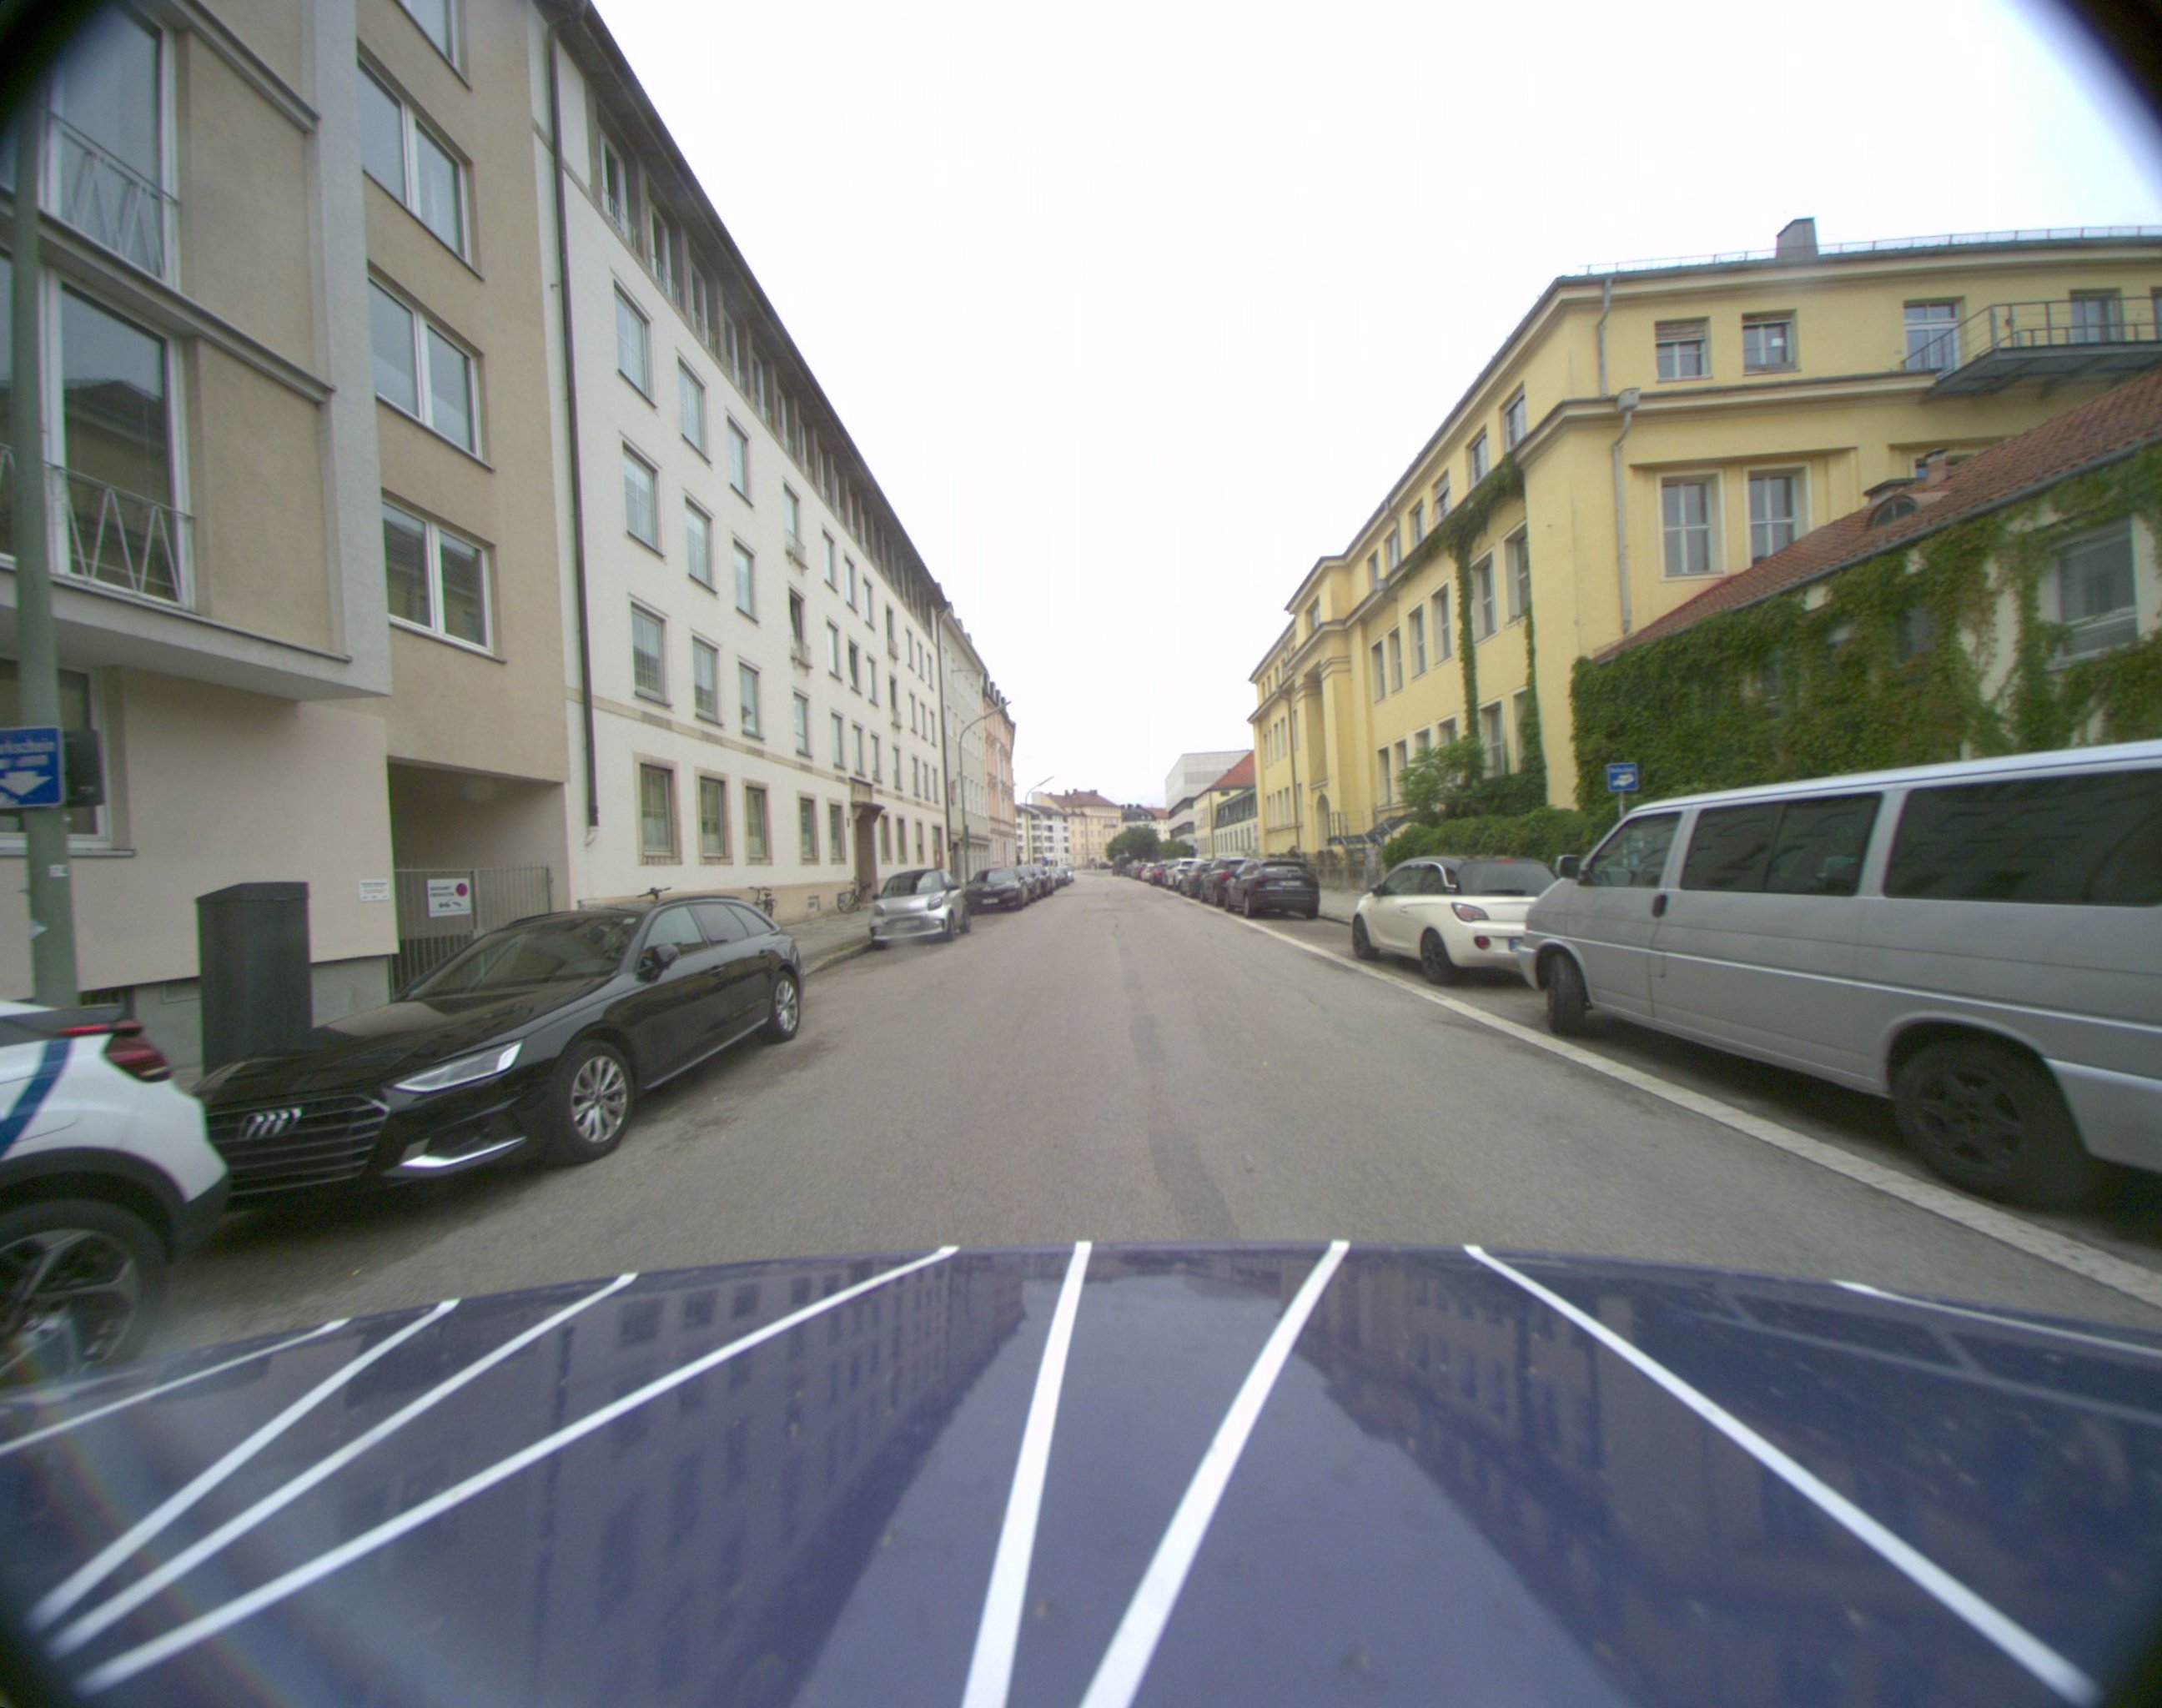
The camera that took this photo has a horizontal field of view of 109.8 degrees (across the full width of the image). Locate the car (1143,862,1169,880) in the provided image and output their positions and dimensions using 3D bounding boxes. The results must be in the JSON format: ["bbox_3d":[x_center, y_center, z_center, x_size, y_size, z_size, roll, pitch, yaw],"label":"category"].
[{"bbox_3d":[6.024,1.372,61.480,1.816,1.389,4.020,0,0,2],"label":"car"}]

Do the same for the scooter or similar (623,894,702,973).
[{"bbox_3d":[-7.489,1.399,13.637,0.731,1.267,1.095,-3,0,1],"label":"scooter or similar"}]

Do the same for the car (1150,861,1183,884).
[{"bbox_3d":[5.437,1.170,48.663,1.738,1.430,3.780,0,-1,2],"label":"car"}]

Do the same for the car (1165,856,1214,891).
[{"bbox_3d":[5.428,0.963,38.525,1.786,1.631,4.300,1,-1,-1],"label":"car"}]

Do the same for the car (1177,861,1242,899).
[{"bbox_3d":[5.077,1.007,30.577,1.778,1.400,4.601,1,-1,0],"label":"car"}]

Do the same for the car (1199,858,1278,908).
[{"bbox_3d":[5.054,0.905,24.977,1.774,1.494,4.274,0,-1,1],"label":"car"}]

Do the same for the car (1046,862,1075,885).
[{"bbox_3d":[-1.519,1.421,56.952,1.724,1.457,4.193,-5,-1,3],"label":"car"}]

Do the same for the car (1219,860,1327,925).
[{"bbox_3d":[4.856,0.917,19.825,1.721,1.472,4.220,1,-1,0],"label":"car"}]

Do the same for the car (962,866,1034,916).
[{"bbox_3d":[-2.772,1.206,26.513,1.878,1.439,4.700,-4,-1,0],"label":"car"}]

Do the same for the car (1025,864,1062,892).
[{"bbox_3d":[-2.185,1.364,44.907,1.745,1.421,4.182,-4,-1,2],"label":"car"}]

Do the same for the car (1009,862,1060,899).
[{"bbox_3d":[-2.188,1.233,37.003,1.831,1.572,4.492,-4,-1,3],"label":"car"}]

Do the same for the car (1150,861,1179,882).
[{"bbox_3d":[5.901,1.227,53.937,1.690,1.438,4.113,0,0,2],"label":"car"}]

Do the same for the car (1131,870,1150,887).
[{"bbox_3d":[5.787,2.375,74.402,1.673,1.508,3.948,-2,0,2],"label":"car"}]

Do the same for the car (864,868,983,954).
[{"bbox_3d":[-3.342,1.165,16.742,1.618,1.507,3.381,-7,-1,2],"label":"car"}]

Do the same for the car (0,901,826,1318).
[{"bbox_3d":[-3.615,1.214,5.426,1.831,1.373,4.492,-5,-1,2],"label":"car"}]

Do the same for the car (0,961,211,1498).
[{"bbox_3d":[-3.982,1.196,0.598,1.706,1.460,4.120,-7,0,0],"label":"car"}]

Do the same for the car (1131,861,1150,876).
[{"bbox_3d":[6.815,1.607,87.461,1.998,1.631,4.210,-2,0,2],"label":"car"}]

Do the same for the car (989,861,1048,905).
[{"bbox_3d":[-2.544,1.161,31.998,1.831,1.572,4.492,-4,-1,2],"label":"car"}]

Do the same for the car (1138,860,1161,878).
[{"bbox_3d":[6.000,1.302,66.976,1.773,1.545,4.210,0,0,2],"label":"car"}]

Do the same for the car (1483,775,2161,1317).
[{"bbox_3d":[4.579,0.675,4.475,1.897,1.788,4.881,1,0,1],"label":"car"}]

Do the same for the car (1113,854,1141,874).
[{"bbox_3d":[6.186,1.416,103.878,2.848,2.536,6.891,-2,-1,-5],"label":"car"}]

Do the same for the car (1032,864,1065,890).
[{"bbox_3d":[-2.128,1.497,50.414,1.768,1.531,4.001,-6,-1,2],"label":"car"}]

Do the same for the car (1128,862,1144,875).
[{"bbox_3d":[6.681,1.742,92.373,1.673,1.508,3.948,-2,0,2],"label":"car"}]

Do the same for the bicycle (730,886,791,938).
[{"bbox_3d":[-7.445,1.333,17.741,0.631,1.085,1.837,0,0,1],"label":"bicycle"}]

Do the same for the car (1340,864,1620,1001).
[{"bbox_3d":[4.697,0.823,9.564,1.671,1.401,3.559,0,-1,0],"label":"car"}]

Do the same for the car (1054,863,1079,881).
[{"bbox_3d":[-1.356,1.700,72.644,2.001,1.563,4.492,-5,-1,2],"label":"car"}]

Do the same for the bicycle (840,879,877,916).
[{"bbox_3d":[-7.147,1.373,24.475,0.599,1.073,2.040,0,0,0],"label":"bicycle"}]

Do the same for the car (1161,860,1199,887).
[{"bbox_3d":[5.638,1.088,43.769,1.611,1.438,3.917,0,-1,-1],"label":"car"}]

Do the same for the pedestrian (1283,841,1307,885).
[{"bbox_3d":[9.244,0.387,32.793,0.776,1.813,0.782,-3,0,5],"label":"pedestrian"}]
